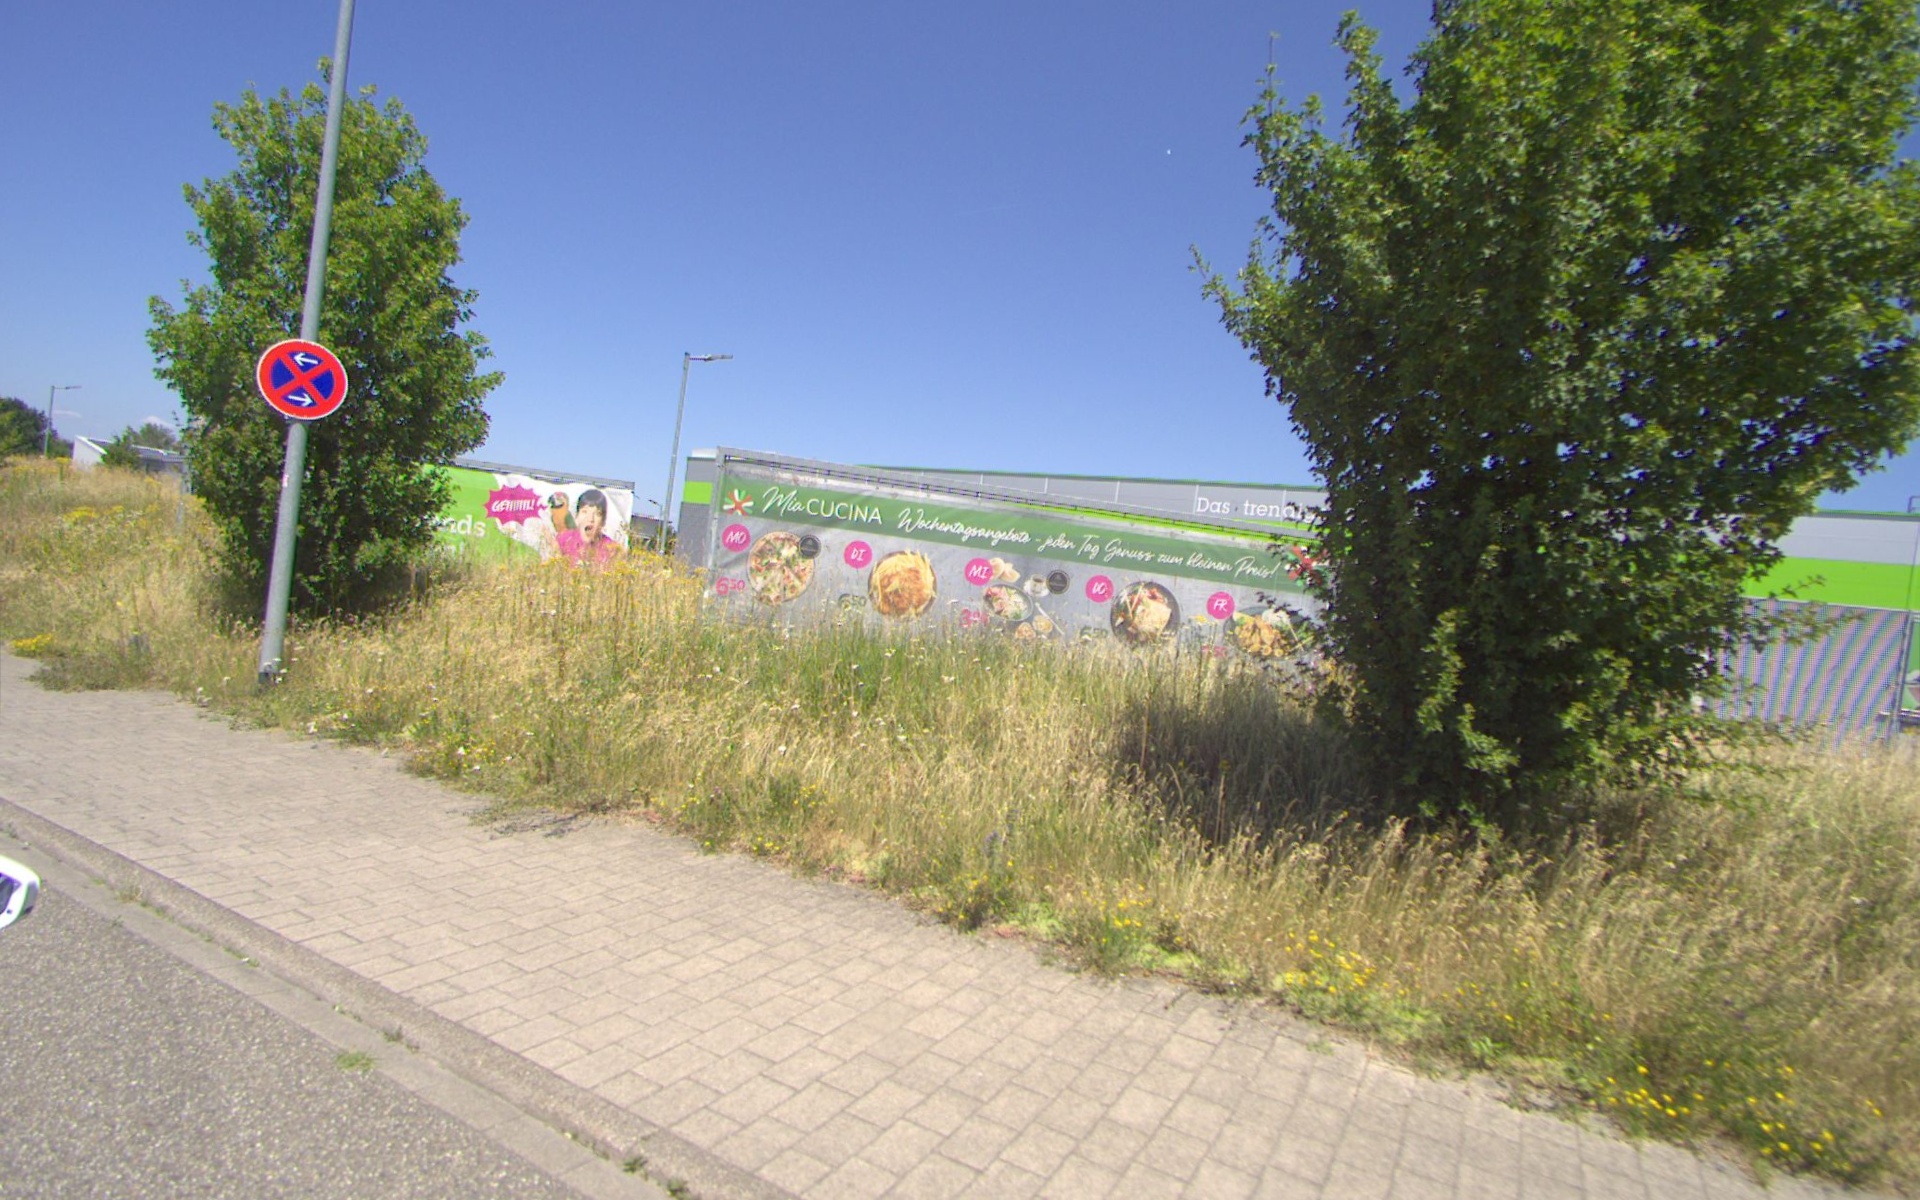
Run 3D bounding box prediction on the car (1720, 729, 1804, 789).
[{"bbox_3d":[28.422,5.573,35.767,1.969,1.538,4.407,6,0,36],"label":"car"}]
